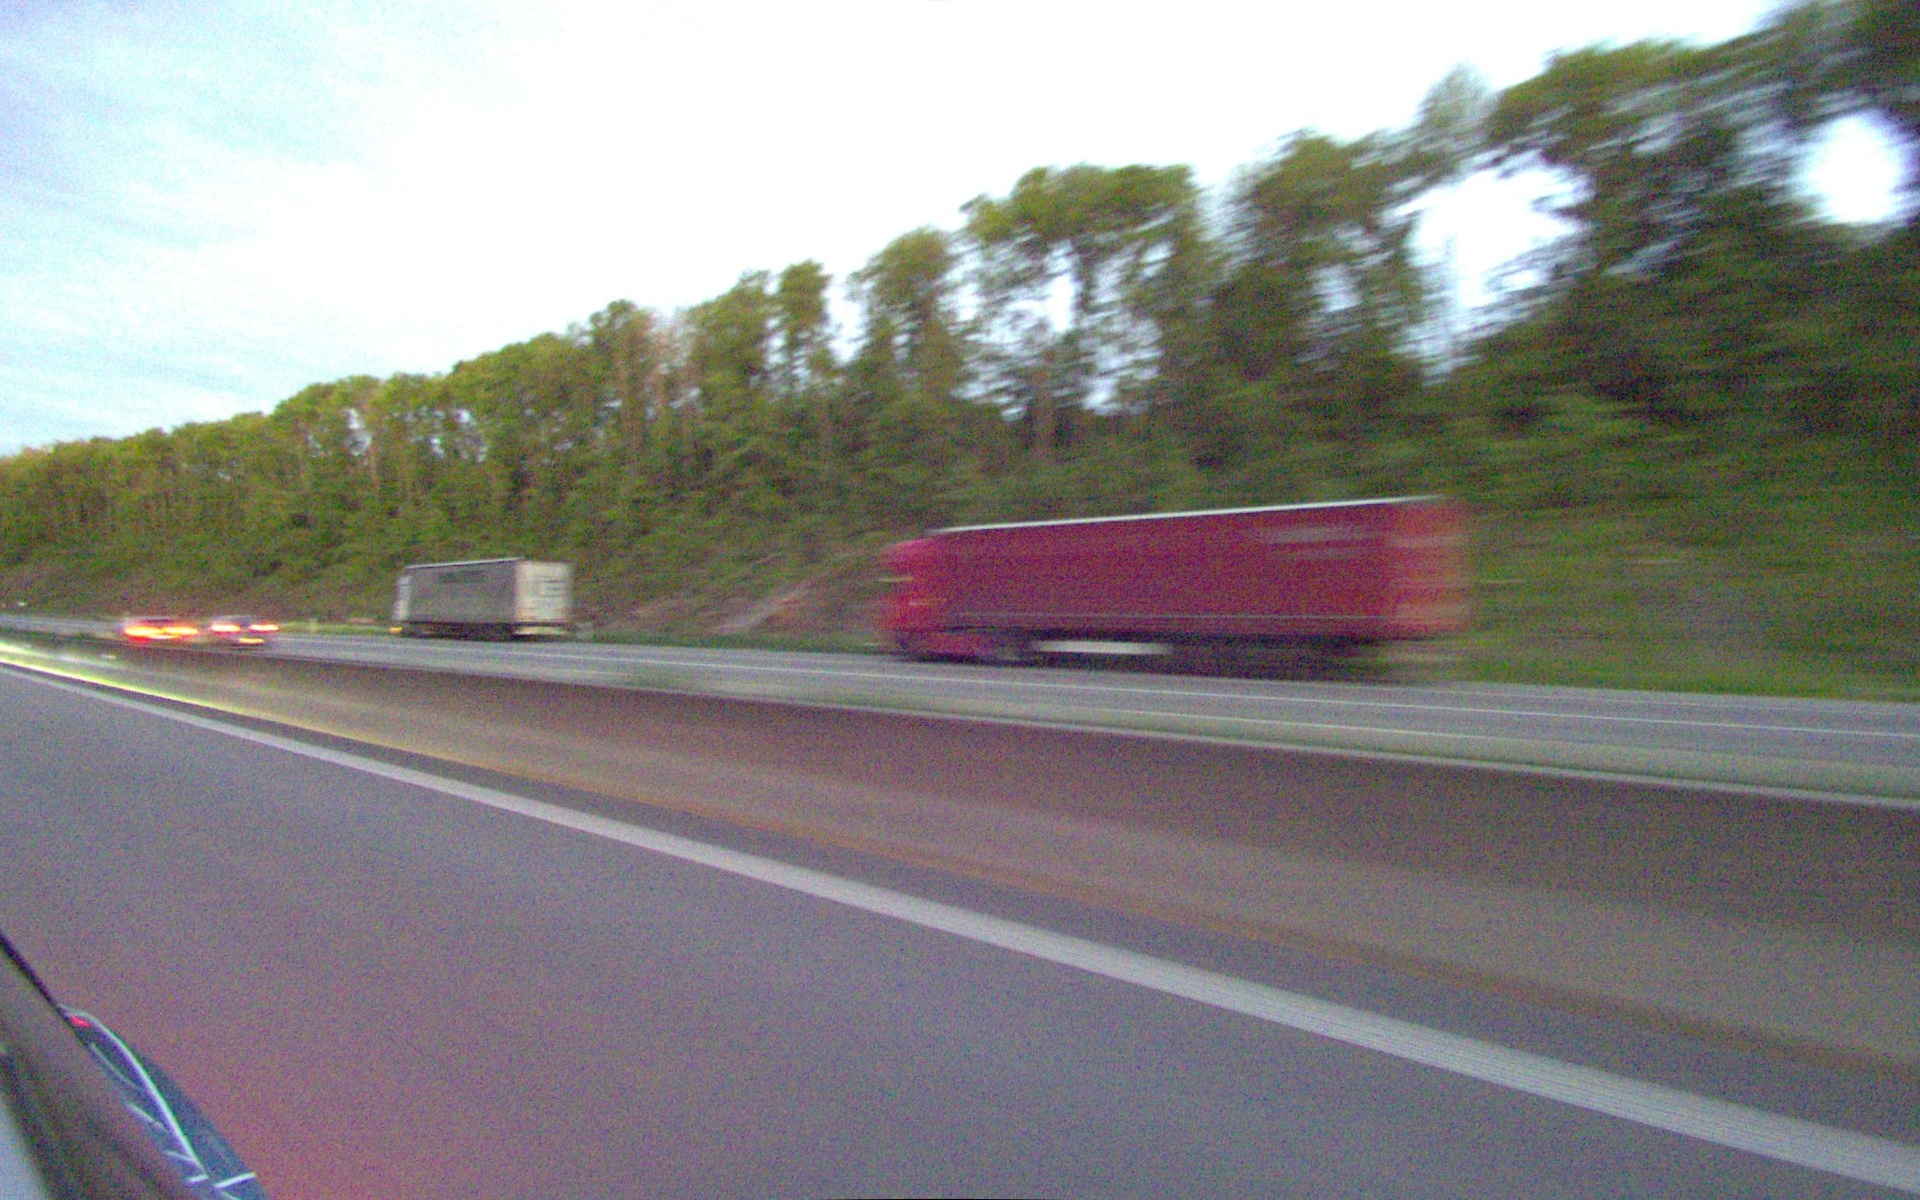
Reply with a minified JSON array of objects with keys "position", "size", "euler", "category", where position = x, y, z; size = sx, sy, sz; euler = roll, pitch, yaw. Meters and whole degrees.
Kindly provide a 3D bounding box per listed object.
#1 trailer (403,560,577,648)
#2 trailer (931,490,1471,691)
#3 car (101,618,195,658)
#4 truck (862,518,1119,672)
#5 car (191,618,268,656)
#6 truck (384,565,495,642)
[{"position":[-25.195,0.193,53.672],"size":[13.735,4.136,3.157],"euler":[0,0,42],"category":"trailer"},{"position":[5.428,-0.187,26.800],"size":[14.179,4.136,3.157],"euler":[0,0,42],"category":"trailer"},{"position":[-30.694,1.404,38.217],"size":[4.639,1.392,1.832],"euler":[-1,-1,39],"category":"car"},{"position":[0.750,-0.129,30.994],"size":[7.687,4.136,3.157],"euler":[0,0,42],"category":"truck"},{"position":[-31.132,1.526,43.079],"size":[4.412,1.527,1.669],"euler":[-1,-1,41],"category":"car"},{"position":[-29.799,0.204,57.804],"size":[7.687,4.136,3.157],"euler":[0,0,42],"category":"truck"}]
